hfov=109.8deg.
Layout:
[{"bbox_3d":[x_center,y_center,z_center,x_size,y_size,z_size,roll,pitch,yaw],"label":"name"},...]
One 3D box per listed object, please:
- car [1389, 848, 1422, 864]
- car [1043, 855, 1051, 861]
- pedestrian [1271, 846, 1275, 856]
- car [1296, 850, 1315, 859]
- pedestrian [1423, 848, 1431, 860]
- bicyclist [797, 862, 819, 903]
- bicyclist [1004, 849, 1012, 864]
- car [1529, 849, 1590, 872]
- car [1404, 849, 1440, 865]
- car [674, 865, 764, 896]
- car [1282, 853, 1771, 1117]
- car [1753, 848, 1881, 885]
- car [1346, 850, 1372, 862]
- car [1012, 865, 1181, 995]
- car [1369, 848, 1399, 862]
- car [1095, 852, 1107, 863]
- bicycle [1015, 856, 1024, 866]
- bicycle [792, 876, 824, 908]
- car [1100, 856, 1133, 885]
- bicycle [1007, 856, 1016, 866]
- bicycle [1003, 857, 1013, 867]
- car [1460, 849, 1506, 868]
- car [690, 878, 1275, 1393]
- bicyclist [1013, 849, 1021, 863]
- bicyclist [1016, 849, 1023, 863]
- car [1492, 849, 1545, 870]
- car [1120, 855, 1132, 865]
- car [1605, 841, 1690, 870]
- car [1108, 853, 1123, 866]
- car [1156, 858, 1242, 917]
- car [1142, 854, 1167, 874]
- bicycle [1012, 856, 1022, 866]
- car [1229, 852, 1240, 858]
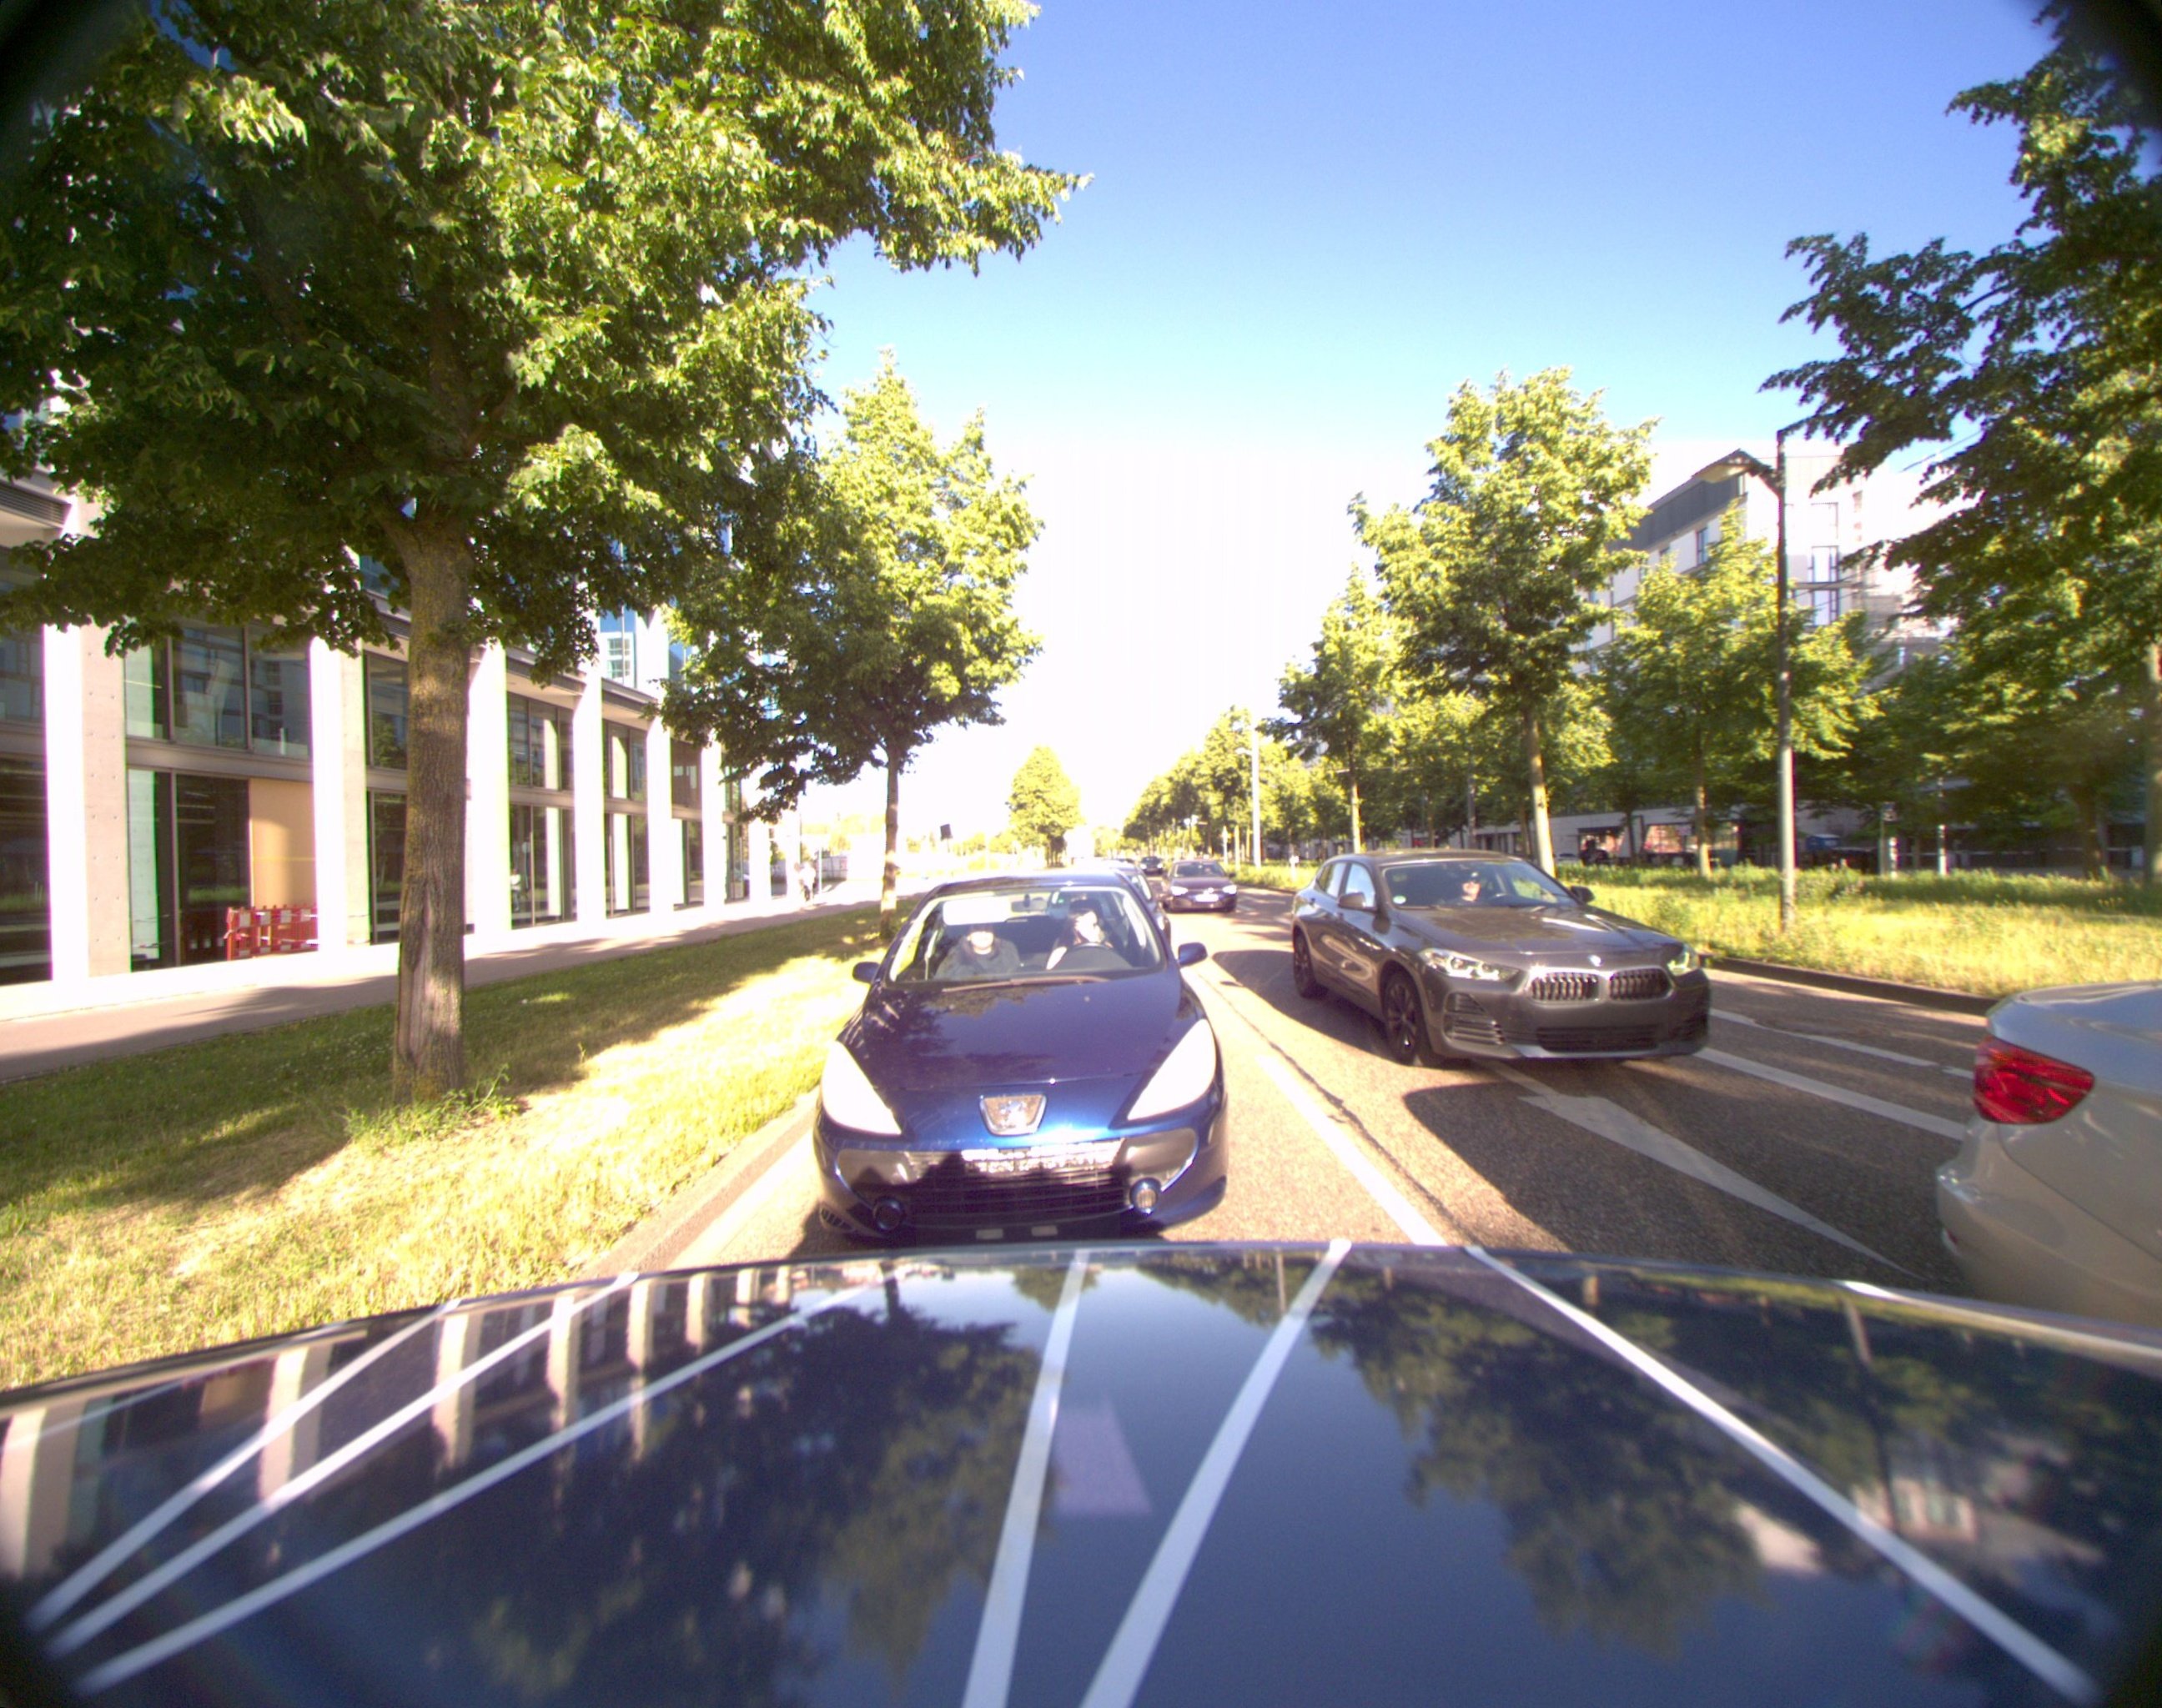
[{"bbox_3d":[35.433,0.201,83.109,1.884,1.588,4.184,-1,0,1],"label":"car"},{"bbox_3d":[-9.057,1.041,202.394,1.998,1.556,4.835,-1,0,1],"label":"car"},{"bbox_3d":[37.564,-0.540,148.489,0.584,2.002,0.619,-1,1,8],"label":"pedestrian"},{"bbox_3d":[36.597,0.018,124.159,1.998,1.387,4.000,-1,0,1],"label":"car"},{"bbox_3d":[41.656,-0.005,91.547,0.604,1.331,0.660,-1,1,1],"label":"pedestrian"},{"bbox_3d":[-10.517,1.095,29.312,0.591,1.530,0.699,1,0,-3],"label":"bicyclist"},{"bbox_3d":[-10.190,0.358,106.513,0.931,2.045,1.121,-1,1,1],"label":"bicyclist"},{"bbox_3d":[34.893,0.478,55.566,1.884,1.588,4.184,-1,0,1],"label":"car"},{"bbox_3d":[35.021,0.271,78.201,1.884,1.588,4.184,-1,0,1],"label":"car"},{"bbox_3d":[-20.049,1.437,42.152,3.996,1.569,2.000,-1,0,3],"label":"car"},{"bbox_3d":[3.087,0.760,6.376,1.861,1.482,4.000,-1,0,2],"label":"car"},{"bbox_3d":[34.079,0.540,35.357,1.951,1.588,4.184,-1,0,1],"label":"car"},{"bbox_3d":[35.159,0.230,96.189,1.998,1.387,4.001,-1,0,4],"label":"car"},{"bbox_3d":[0.216,0.955,11.460,1.998,1.437,4.622,-1,0,1],"label":"car"},{"bbox_3d":[35.490,0.145,89.030,1.884,1.588,4.184,-1,0,1],"label":"car"},{"bbox_3d":[3.064,0.553,117.122,1.879,1.561,4.344,-1,0,1],"label":"car"},{"bbox_3d":[-8.972,0.962,110.964,0.931,1.355,4.000,-1,0,1],"label":"bicycle"},{"bbox_3d":[-10.525,1.454,29.319,0.591,1.149,1.927,1,0,-3],"label":"bicycle"},{"bbox_3d":[1.999,0.924,43.728,1.724,1.516,4.000,-1,0,1],"label":"car"},{"bbox_3d":[-10.123,1.035,110.888,0.931,1.355,4.000,-1,0,1],"label":"bicycle"},{"bbox_3d":[-10.181,1.078,106.501,0.931,1.355,4.000,-1,0,1],"label":"bicycle"},{"bbox_3d":[35.146,0.366,66.519,1.884,1.588,4.184,-1,0,1],"label":"car"},{"bbox_3d":[-0.290,0.985,4.692,1.846,1.473,4.481,-2,0,1],"label":"car"},{"bbox_3d":[-9.021,0.283,106.714,0.931,2.045,1.121,-1,1,1],"label":"bicyclist"},{"bbox_3d":[-8.973,0.243,110.875,0.931,2.045,1.121,-1,1,1],"label":"bicyclist"},{"bbox_3d":[35.180,0.411,61.237,1.884,1.588,4.184,-1,0,1],"label":"car"},{"bbox_3d":[7.421,1.029,125.672,1.878,1.561,4.344,-1,0,2],"label":"car"},{"bbox_3d":[33.595,0.100,45.184,1.951,1.588,4.184,-1,0,1],"label":"car"},{"bbox_3d":[4.250,0.699,93.891,1.878,1.561,4.344,-1,0,2],"label":"car"},{"bbox_3d":[3.193,0.867,21.395,1.878,1.415,4.344,-1,0,2],"label":"car"},{"bbox_3d":[6.189,0.851,64.422,1.878,1.577,4.344,-1,0,2],"label":"car"},{"bbox_3d":[-9.002,1.000,106.810,0.931,1.355,4.000,-1,0,1],"label":"bicycle"},{"bbox_3d":[36.098,0.183,179.237,1.998,1.387,4.001,-1,0,4],"label":"car"}]
